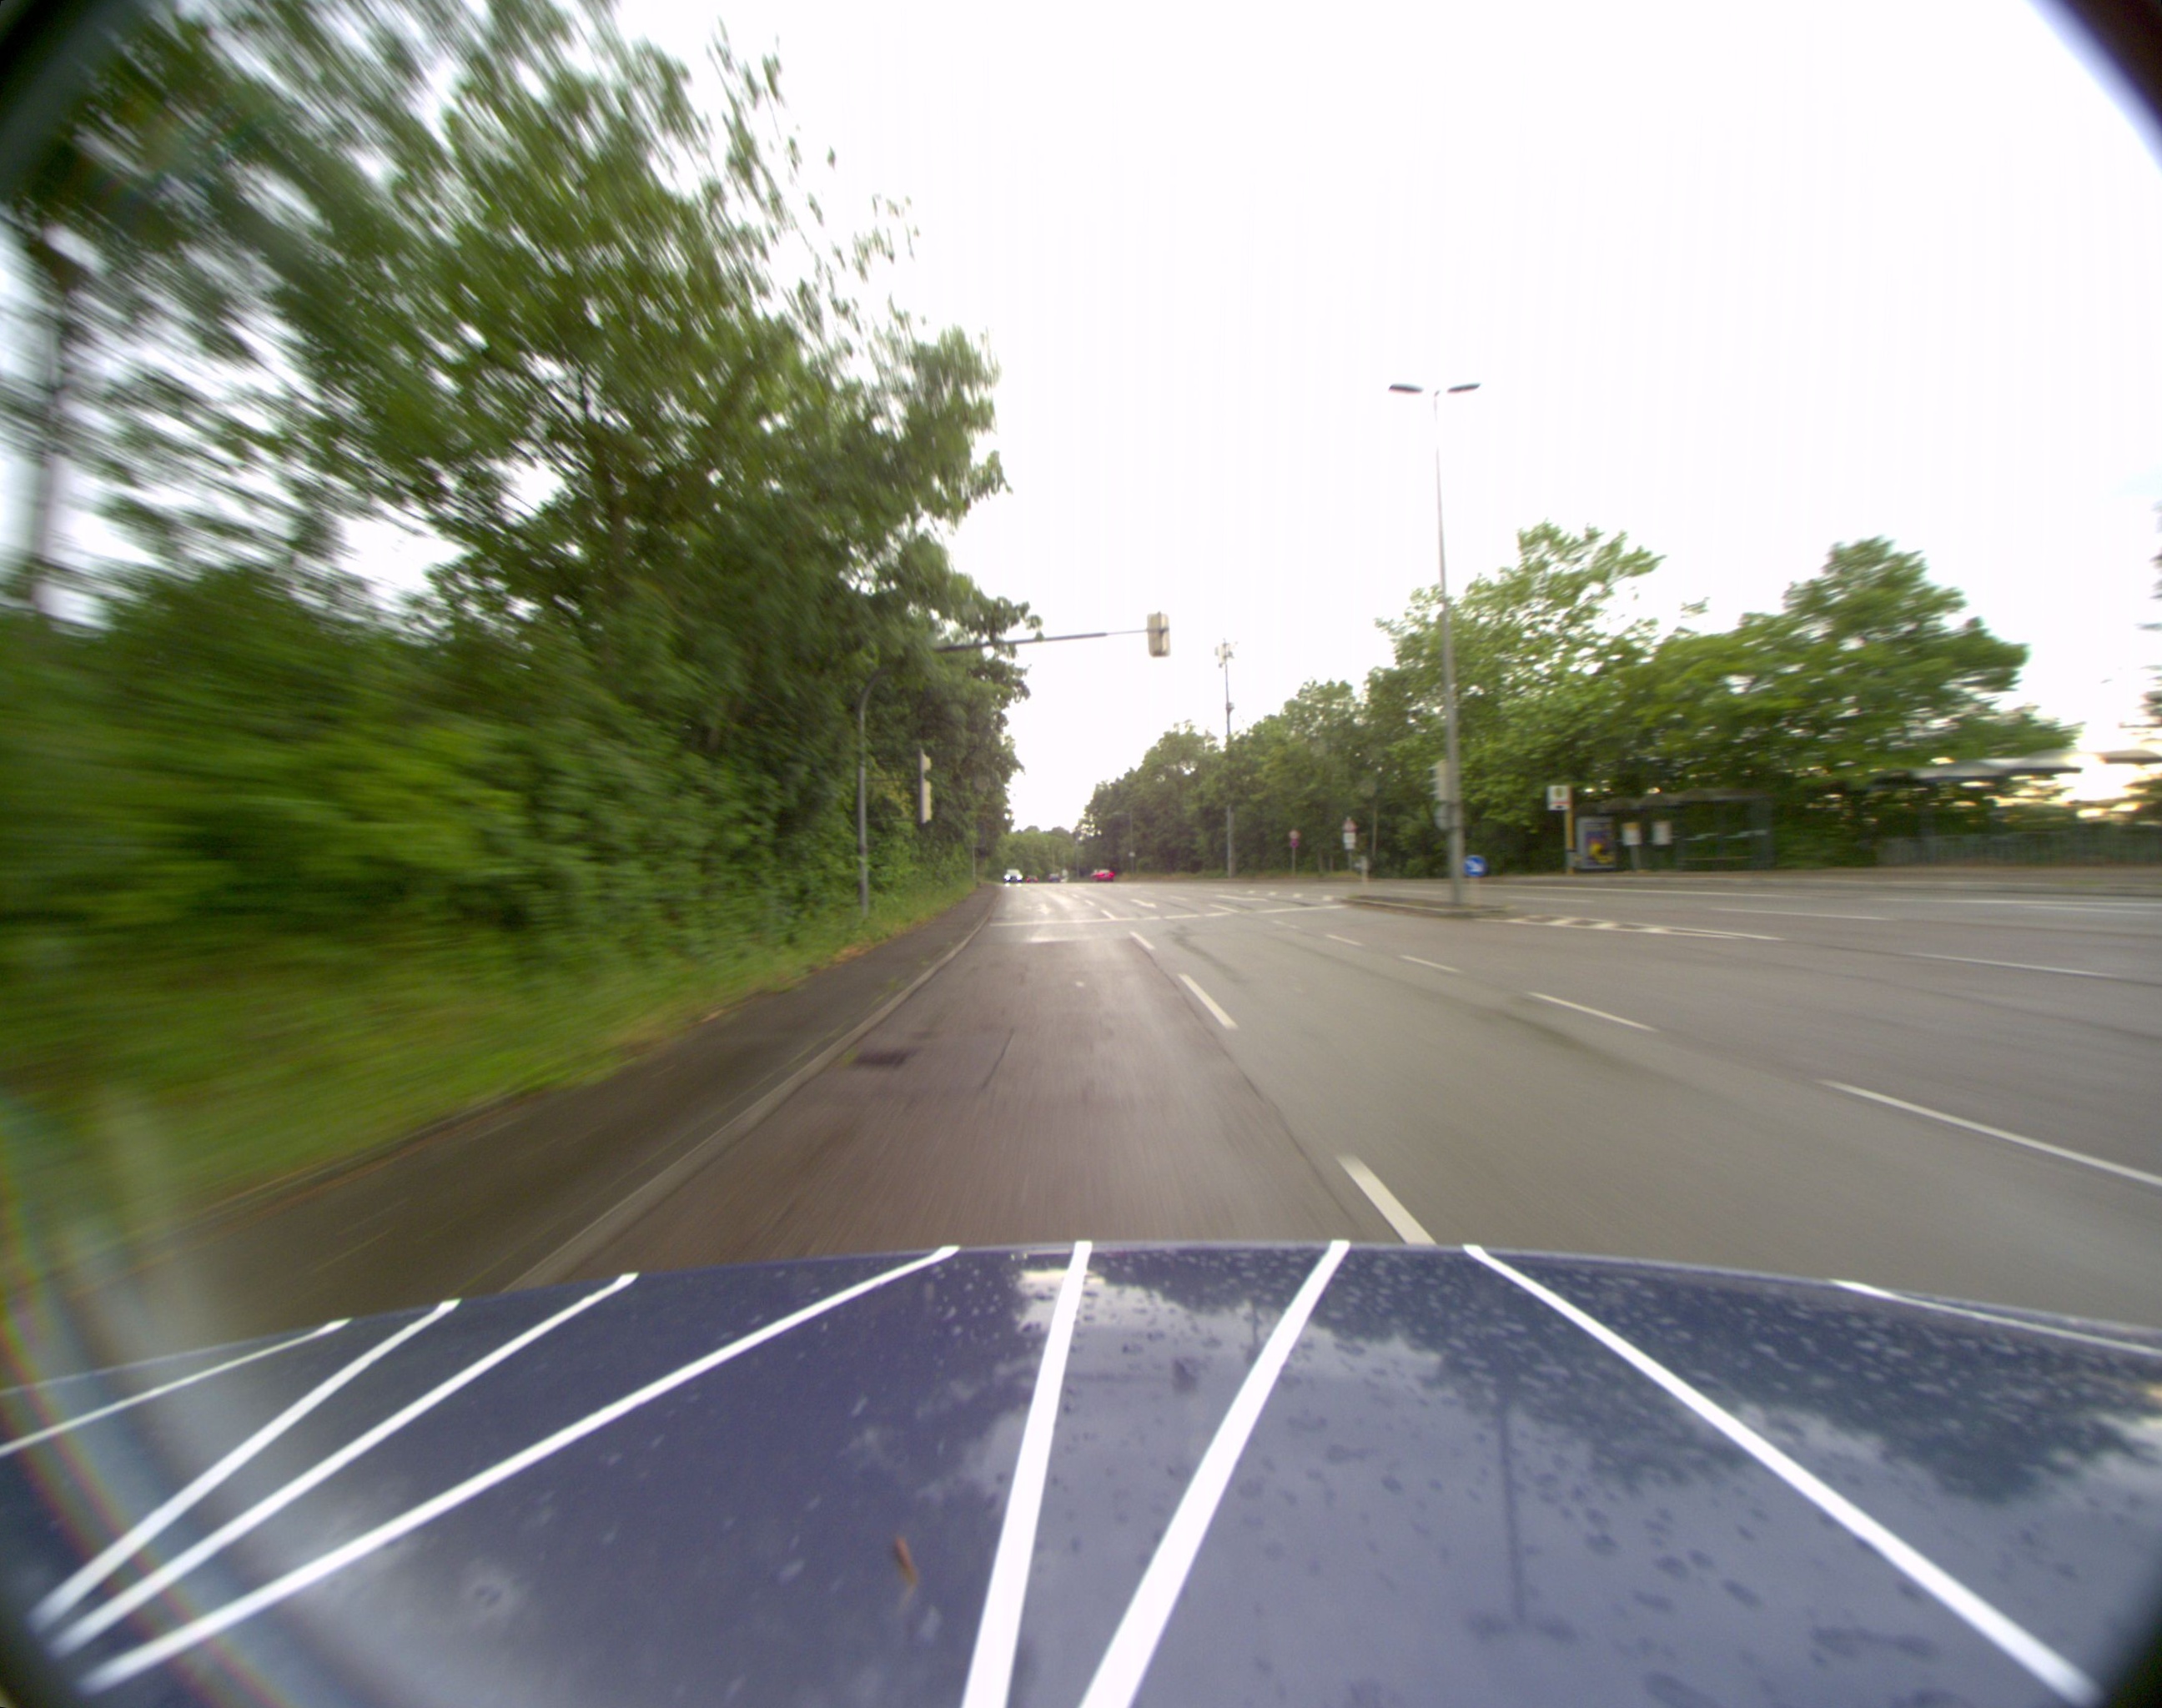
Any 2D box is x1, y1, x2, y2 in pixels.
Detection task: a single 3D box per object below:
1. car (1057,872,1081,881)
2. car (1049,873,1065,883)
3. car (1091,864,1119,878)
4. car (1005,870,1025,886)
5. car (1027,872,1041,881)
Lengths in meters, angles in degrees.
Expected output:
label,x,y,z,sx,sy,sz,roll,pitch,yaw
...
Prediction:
label,x,y,z,sx,sy,sz,roll,pitch,yaw
car,-2.481,4.559,156.244,4.754,1.706,1.895,-1,-1,-2
car,-3.504,3.438,110.835,1.637,1.386,3.997,-1,-1,-11
car,2.431,1.749,77.908,1.882,1.366,4.381,-1,-1,-12
car,-6.572,2.399,75.705,1.999,1.576,3.999,0,-2,-5
car,-7.692,3.659,125.043,1.707,1.418,4.075,0,-1,-12
